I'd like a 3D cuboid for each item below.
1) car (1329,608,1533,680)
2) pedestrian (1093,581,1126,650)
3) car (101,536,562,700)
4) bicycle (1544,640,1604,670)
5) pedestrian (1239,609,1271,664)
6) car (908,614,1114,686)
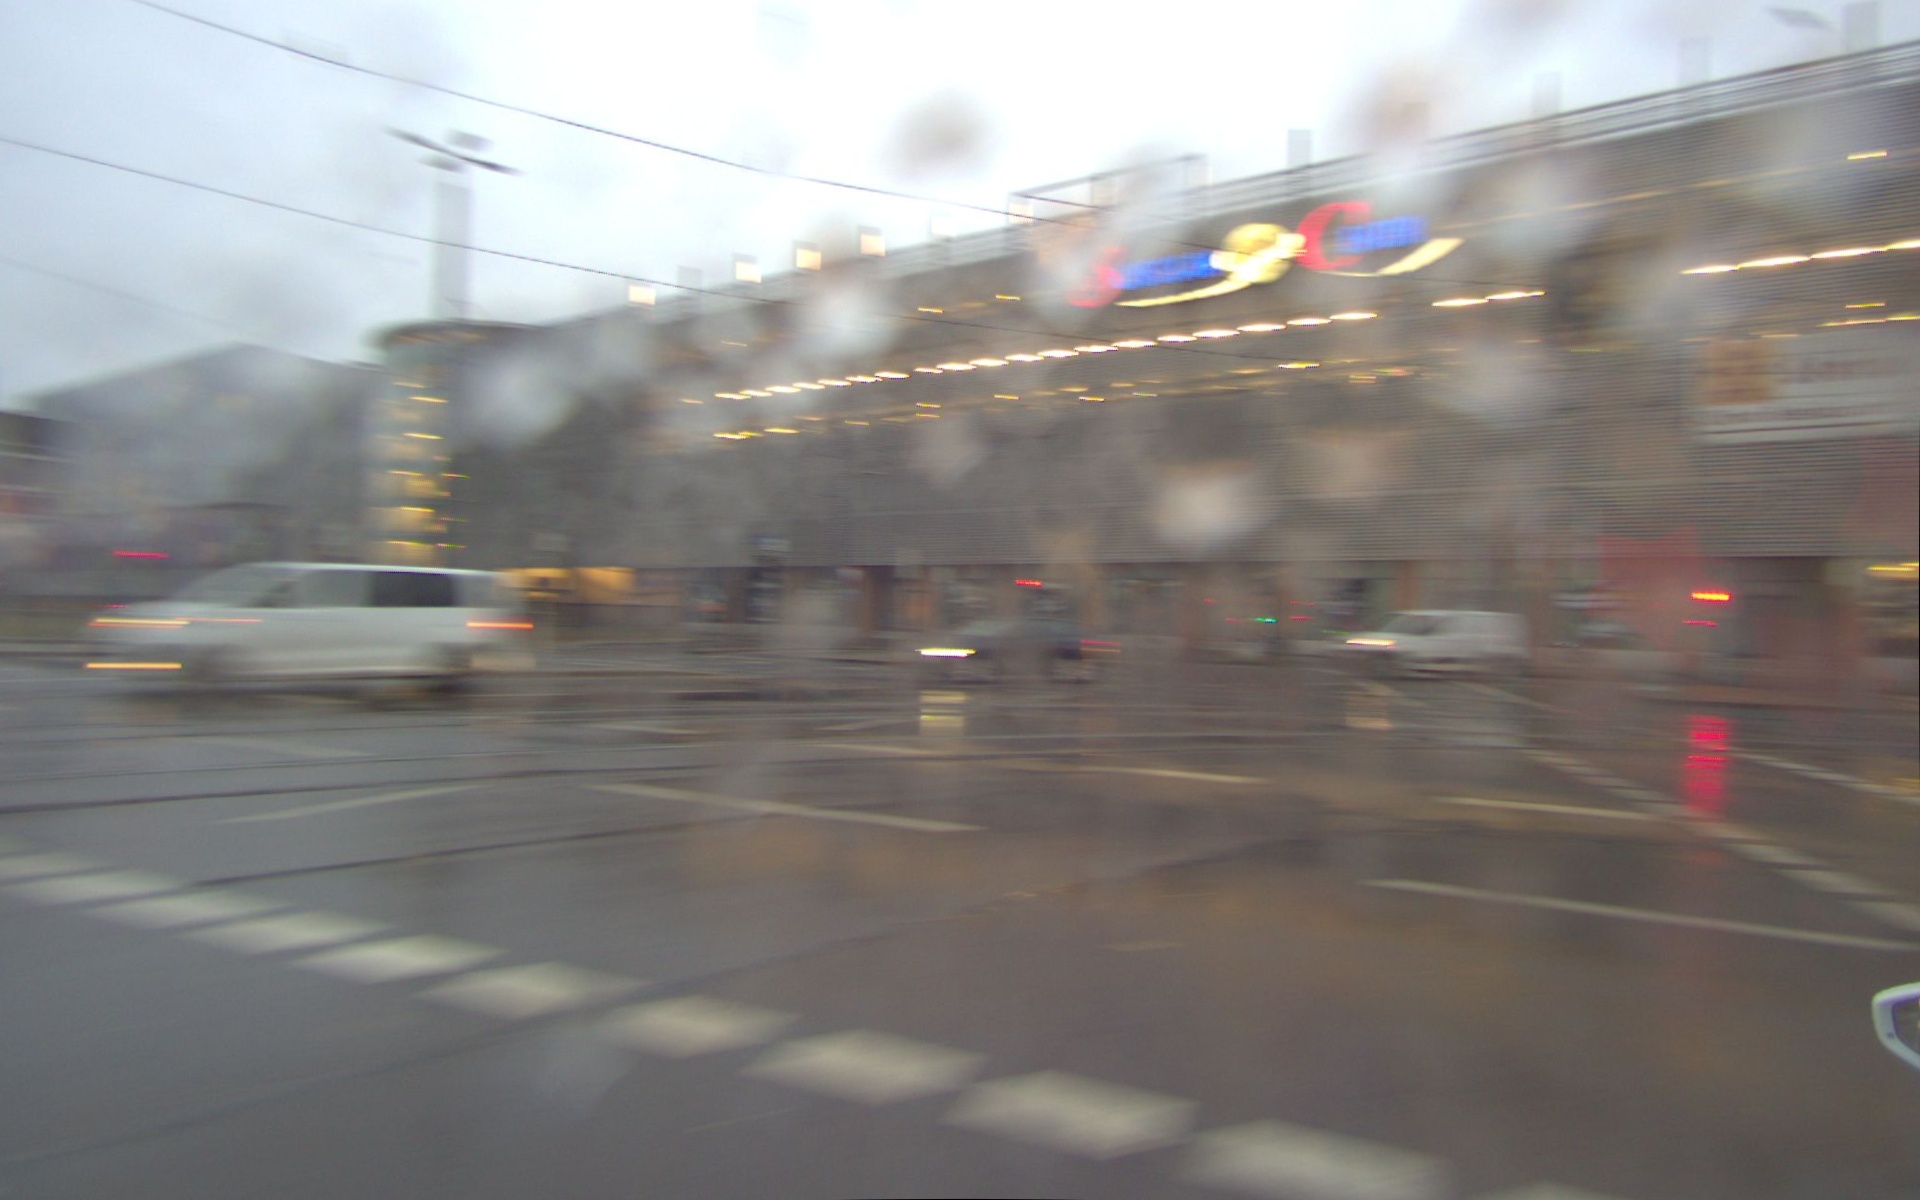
[{"bbox_3d":[12.439,1.149,26.687,4.520,1.742,1.929,1,-1,-2],"label":"car"},{"bbox_3d":[6.623,0.685,44.505,0.949,2.963,1.111,2,-1,32],"label":"pedestrian"},{"bbox_3d":[-9.236,0.320,15.248,5.611,2.086,1.932,2,-1,-38],"label":"car"},{"bbox_3d":[25.365,2.259,41.509,2.054,1.136,0.476,2,-1,31],"label":"bicycle"},{"bbox_3d":[13.575,1.669,46.269,1.094,2.471,0.964,2,-1,32],"label":"pedestrian"},{"bbox_3d":[1.159,1.096,22.285,4.369,1.464,1.617,2,-1,-29],"label":"car"}]
